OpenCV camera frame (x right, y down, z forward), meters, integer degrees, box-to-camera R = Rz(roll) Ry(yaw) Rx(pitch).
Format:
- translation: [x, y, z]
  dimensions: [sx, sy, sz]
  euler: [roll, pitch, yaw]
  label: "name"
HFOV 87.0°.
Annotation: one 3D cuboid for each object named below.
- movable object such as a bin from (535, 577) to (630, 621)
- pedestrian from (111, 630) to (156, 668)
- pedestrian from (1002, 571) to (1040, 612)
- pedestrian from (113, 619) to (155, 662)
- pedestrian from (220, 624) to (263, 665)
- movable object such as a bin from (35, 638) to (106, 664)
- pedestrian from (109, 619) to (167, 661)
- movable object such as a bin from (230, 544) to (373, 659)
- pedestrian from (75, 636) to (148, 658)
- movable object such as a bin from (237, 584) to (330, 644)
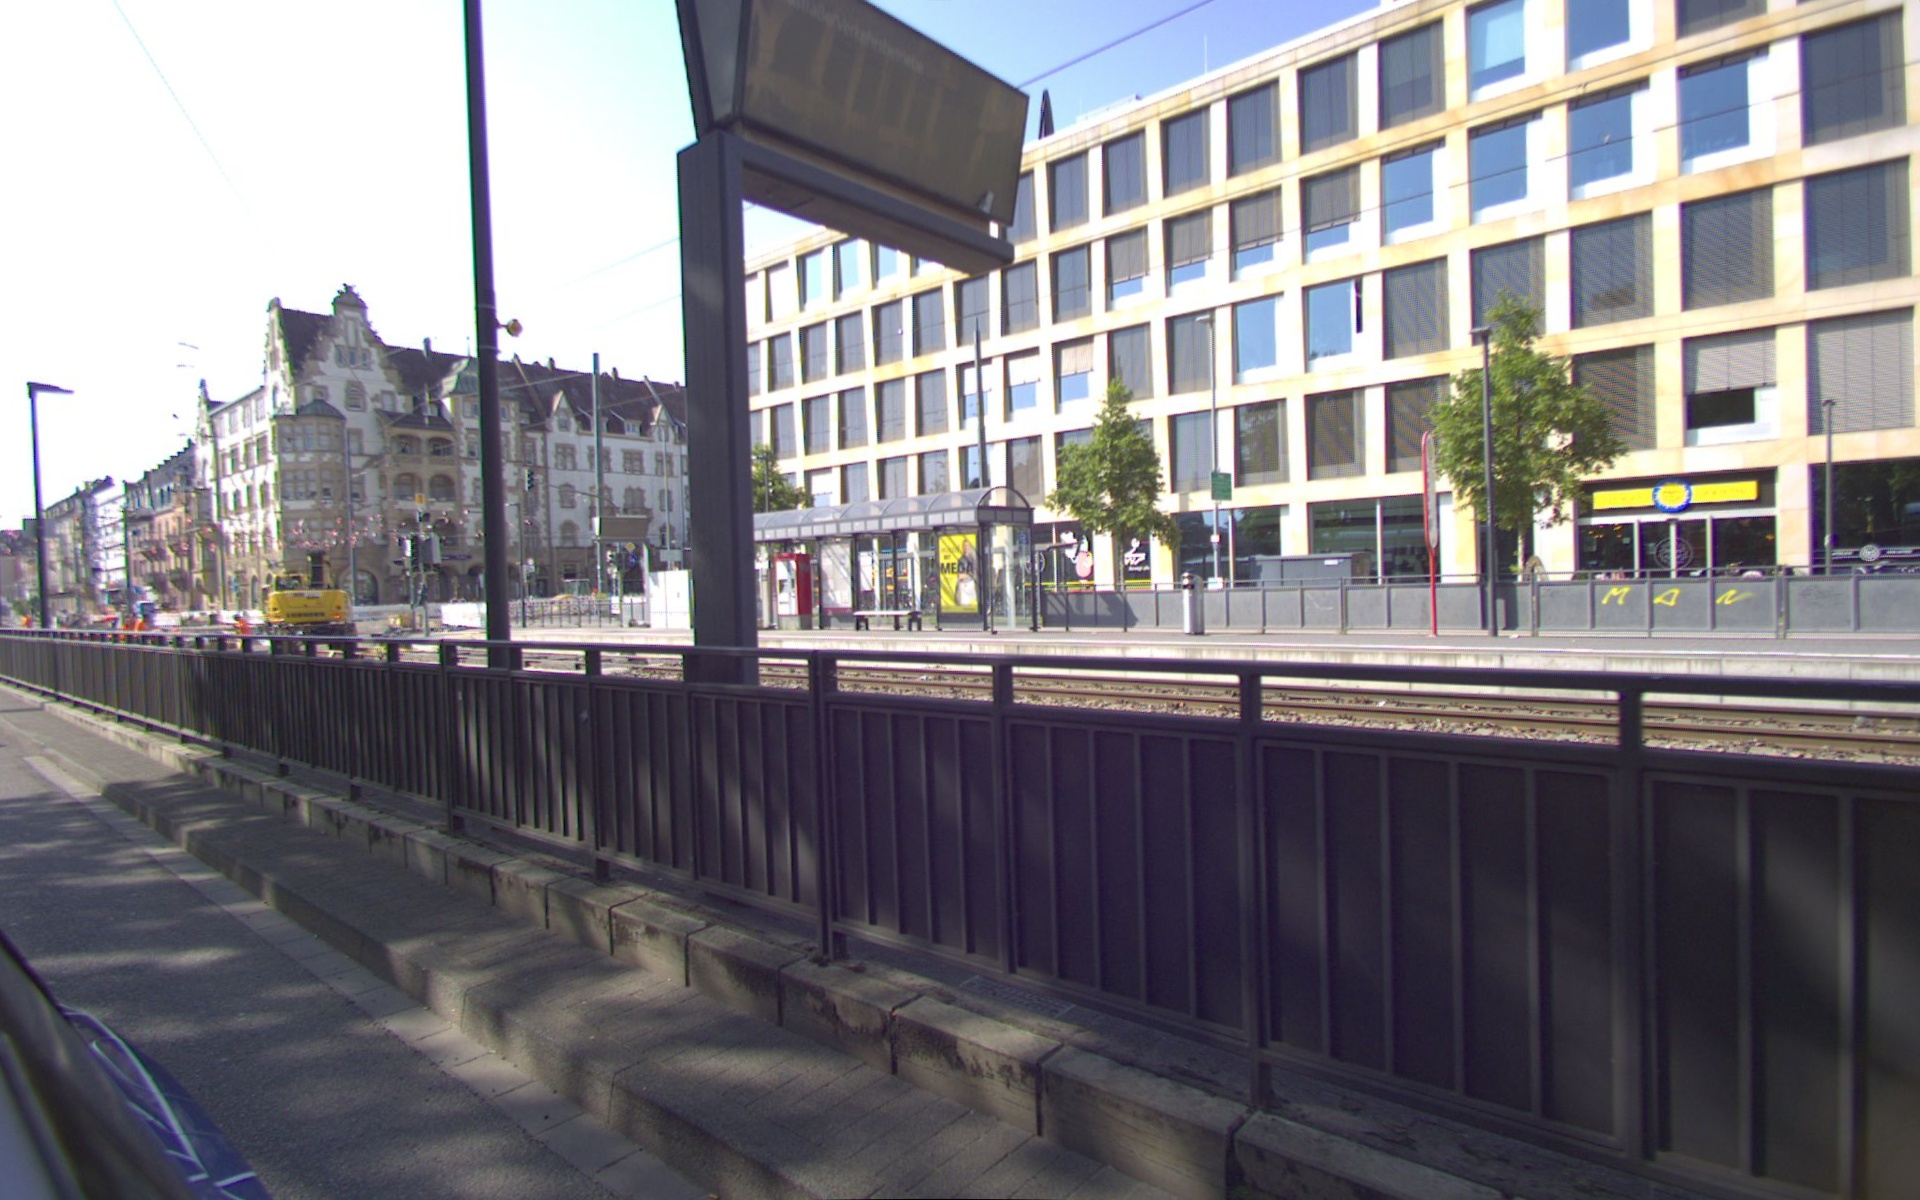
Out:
- translation: [-25.224, -0.099, 67.733]
  dimensions: [2.134, 2.760, 5.556]
  euler: [-1, 1, 40]
  label: "movable object such as a bin"
- translation: [-28.093, 1.656, 34.409]
  dimensions: [0.968, 1.199, 0.801]
  euler: [-2, 0, -25]
  label: "pedestrian"
- translation: [2.452, -0.329, 40.508]
  dimensions: [1.123, 1.609, 0.966]
  euler: [-2, 0, 41]
  label: "pedestrian"
- translation: [-26.624, 1.304, 32.634]
  dimensions: [0.826, 1.316, 0.801]
  euler: [-2, 0, -25]
  label: "pedestrian"
- translation: [-24.310, 1.488, 34.258]
  dimensions: [0.983, 1.316, 1.003]
  euler: [-2, 0, 45]
  label: "pedestrian"
- translation: [-27.190, 1.552, 30.963]
  dimensions: [1.484, 0.657, 0.703]
  euler: [-2, 0, -28]
  label: "movable object such as a bin"
- translation: [-27.129, 1.305, 33.413]
  dimensions: [1.293, 1.316, 0.801]
  euler: [-2, 0, -25]
  label: "pedestrian"
- translation: [-26.171, 0.094, 40.727]
  dimensions: [3.454, 4.043, 9.071]
  euler: [-2, 0, -25]
  label: "movable object such as a bin"
- translation: [-29.850, 1.658, 35.633]
  dimensions: [0.913, 0.641, 1.880]
  euler: [-2, 1, 45]
  label: "pedestrian"
- translation: [-40.984, 0.861, 61.184]
  dimensions: [8.346, 3.355, 2.815]
  euler: [-1, 0, 43]
  label: "movable object such as a bin"
